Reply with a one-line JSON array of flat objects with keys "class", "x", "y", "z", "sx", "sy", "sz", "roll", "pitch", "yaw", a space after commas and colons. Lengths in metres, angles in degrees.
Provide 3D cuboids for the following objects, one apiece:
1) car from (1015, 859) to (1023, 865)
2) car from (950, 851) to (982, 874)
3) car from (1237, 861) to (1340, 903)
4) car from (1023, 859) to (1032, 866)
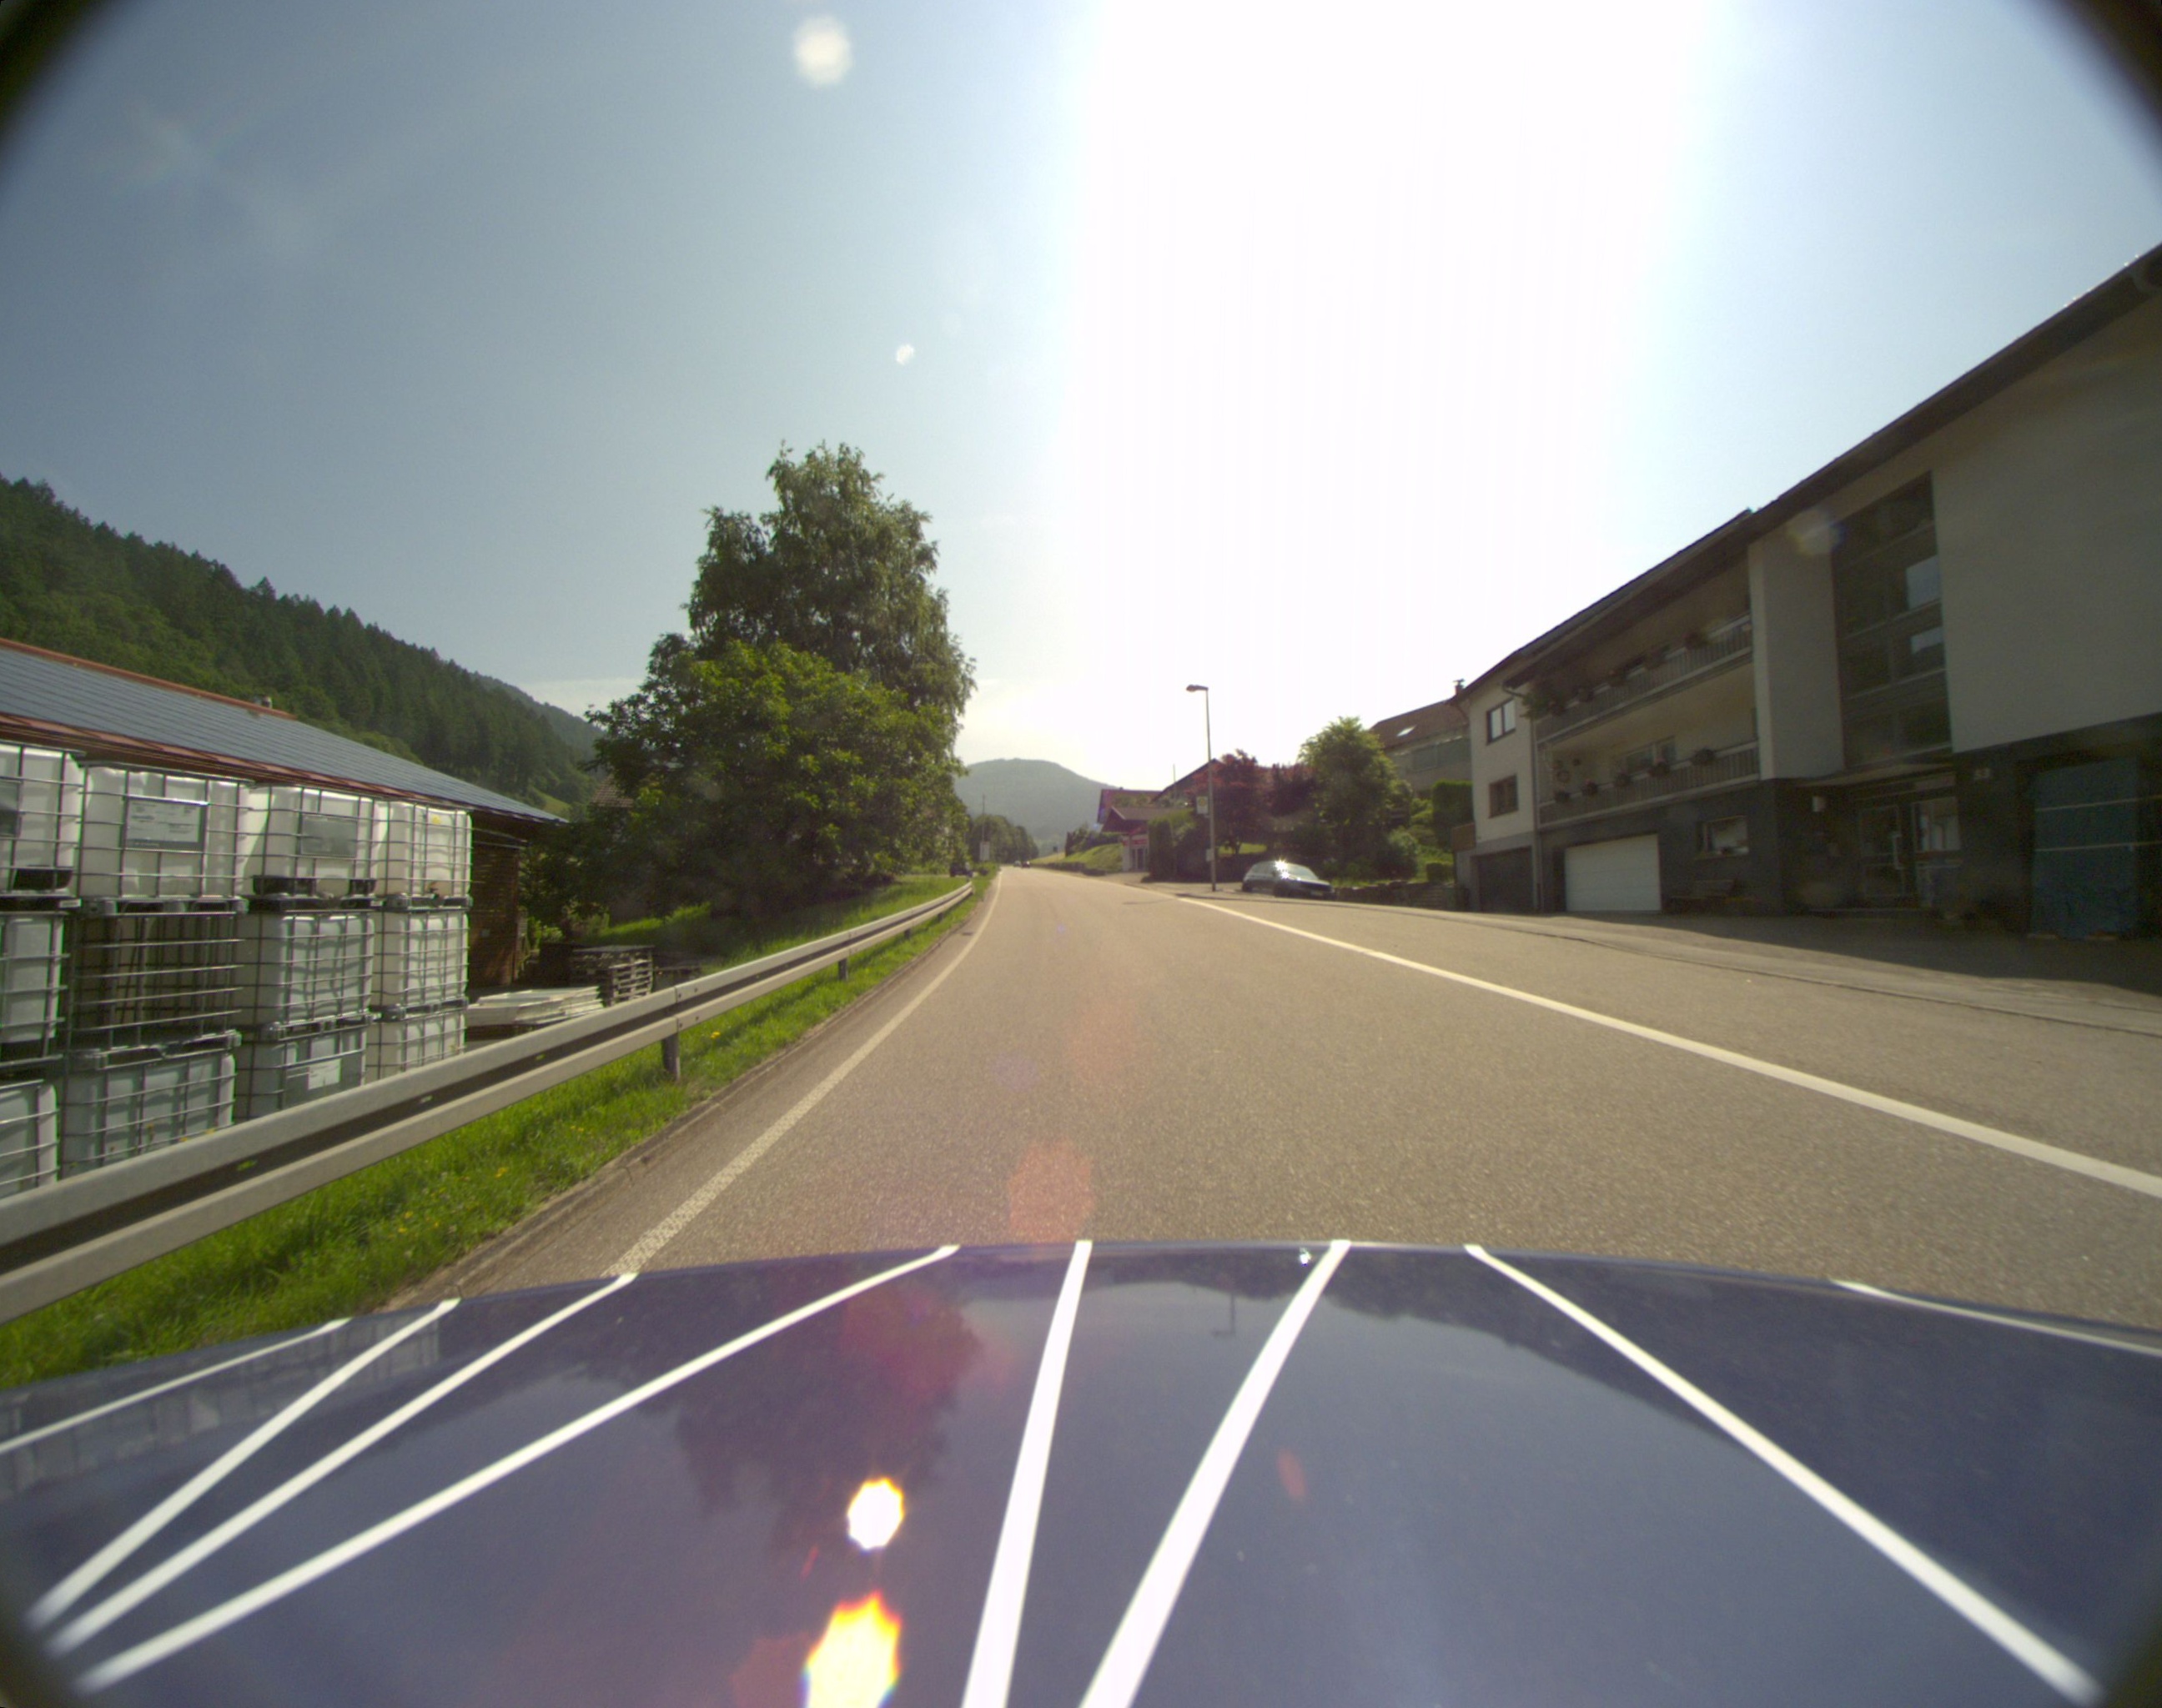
[{"class": "car", "x": -17.032, "y": 2.105, "z": 207.652, "sx": 1.817, "sy": 1.500, "sz": 4.260, "roll": -1, "pitch": 0, "yaw": -8}, {"class": "car", "x": -9.710, "y": 0.703, "z": 64.439, "sx": 1.813, "sy": 1.802, "sz": 4.664, "roll": 1, "pitch": 0, "yaw": 2}, {"class": "car", "x": 7.366, "y": 0.953, "z": 27.494, "sx": 1.788, "sy": 1.331, "sz": 4.691, "roll": 0, "pitch": 0, "yaw": -10}, {"class": "car", "x": -11.701, "y": 1.917, "z": 165.655, "sx": 1.817, "sy": 1.500, "sz": 4.260, "roll": -1, "pitch": 0, "yaw": -7}]
